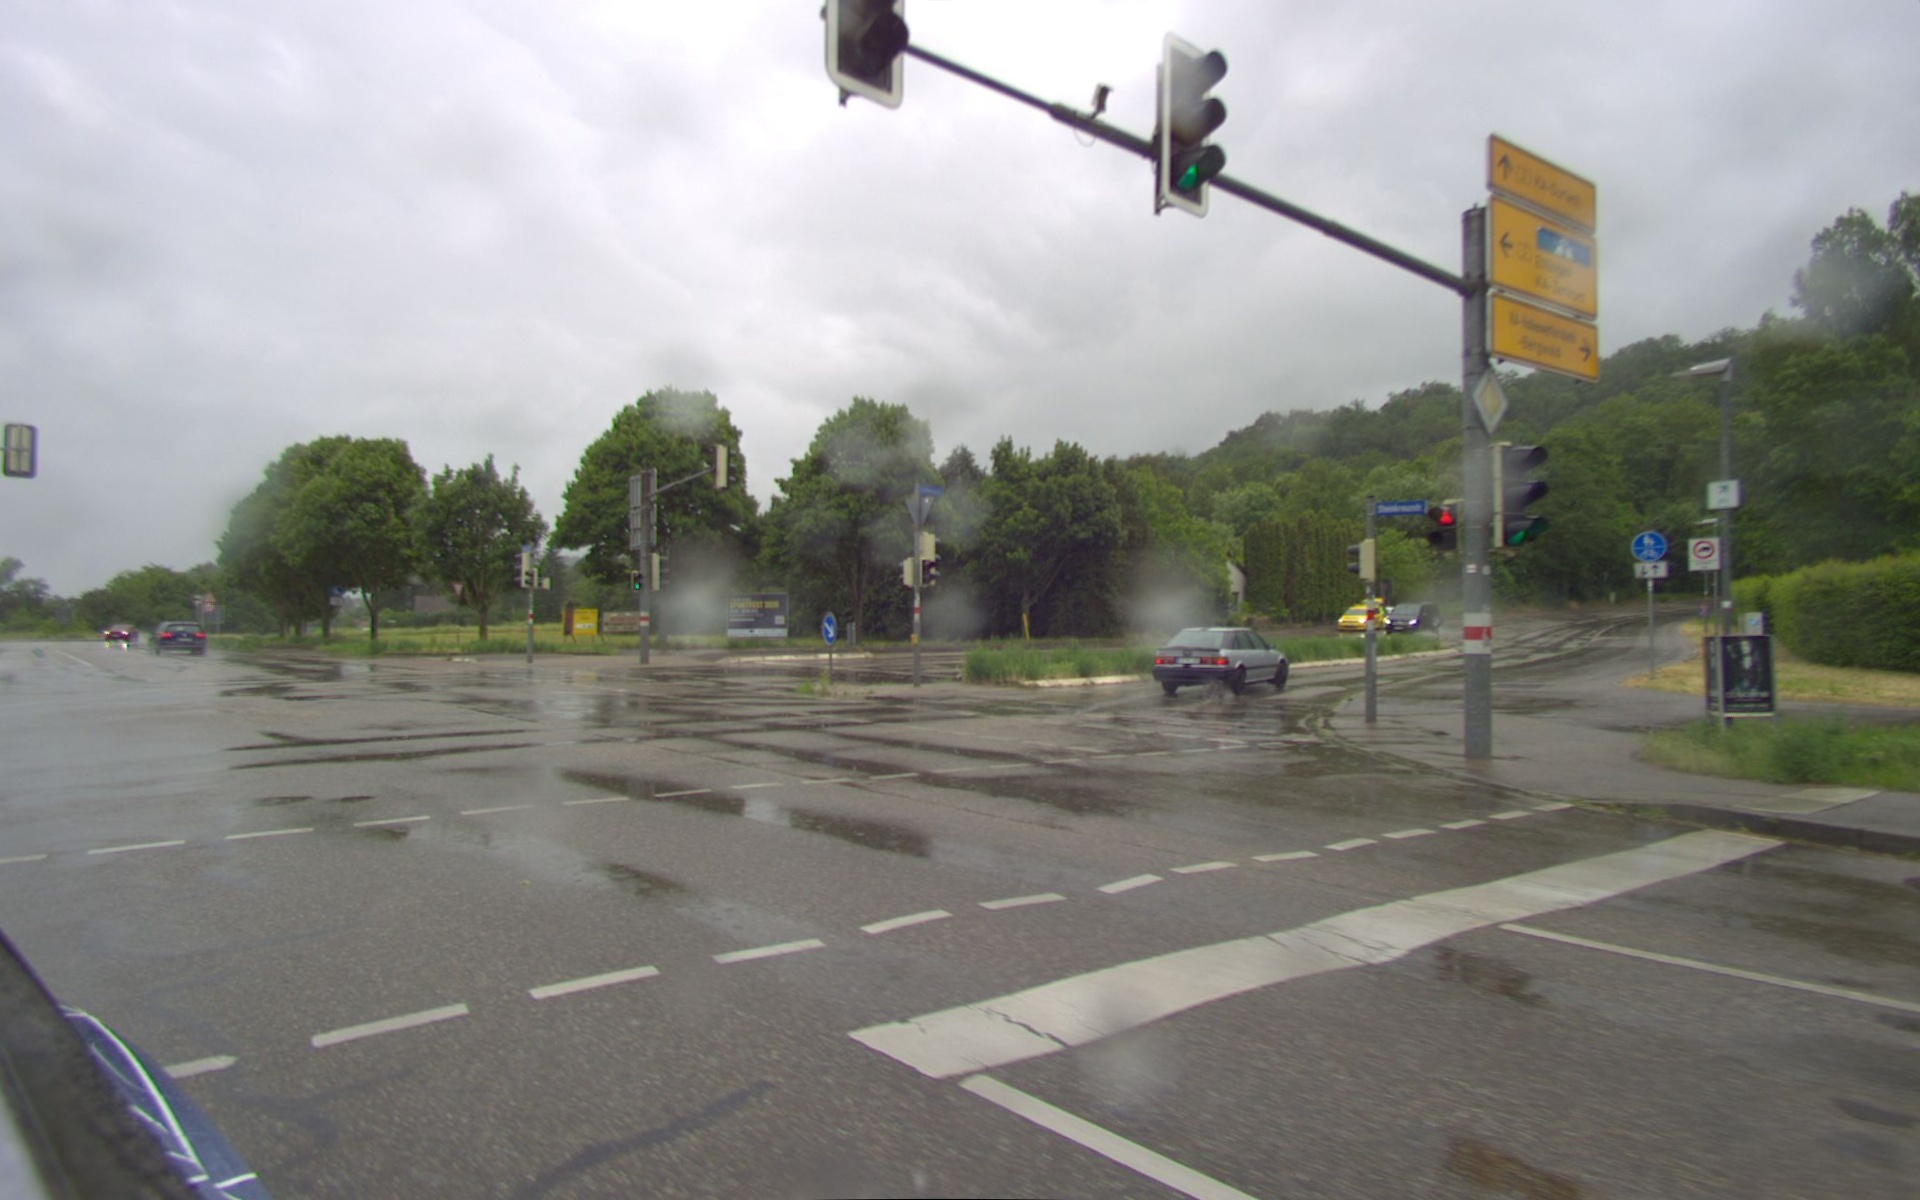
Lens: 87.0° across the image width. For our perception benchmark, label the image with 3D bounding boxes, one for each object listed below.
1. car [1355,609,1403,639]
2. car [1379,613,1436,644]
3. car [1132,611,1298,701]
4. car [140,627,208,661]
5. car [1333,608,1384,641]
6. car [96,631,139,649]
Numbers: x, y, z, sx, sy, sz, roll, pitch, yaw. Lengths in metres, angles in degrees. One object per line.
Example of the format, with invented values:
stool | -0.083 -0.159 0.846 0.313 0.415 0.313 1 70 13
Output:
car | 28.618 1.627 69.098 1.814 2.029 3.630 -2 -2 44
car | 26.673 1.686 60.305 1.833 1.829 3.942 -2 -2 44
car | 5.520 1.111 21.600 2.040 1.721 4.015 -2 -2 36
car | -35.812 1.971 46.076 4.452 1.477 1.690 -1 -2 42
car | 25.995 1.556 65.963 1.814 2.042 3.629 -2 -1 44
car | -84.963 4.026 102.078 1.885 1.701 4.115 0 -1 -17
